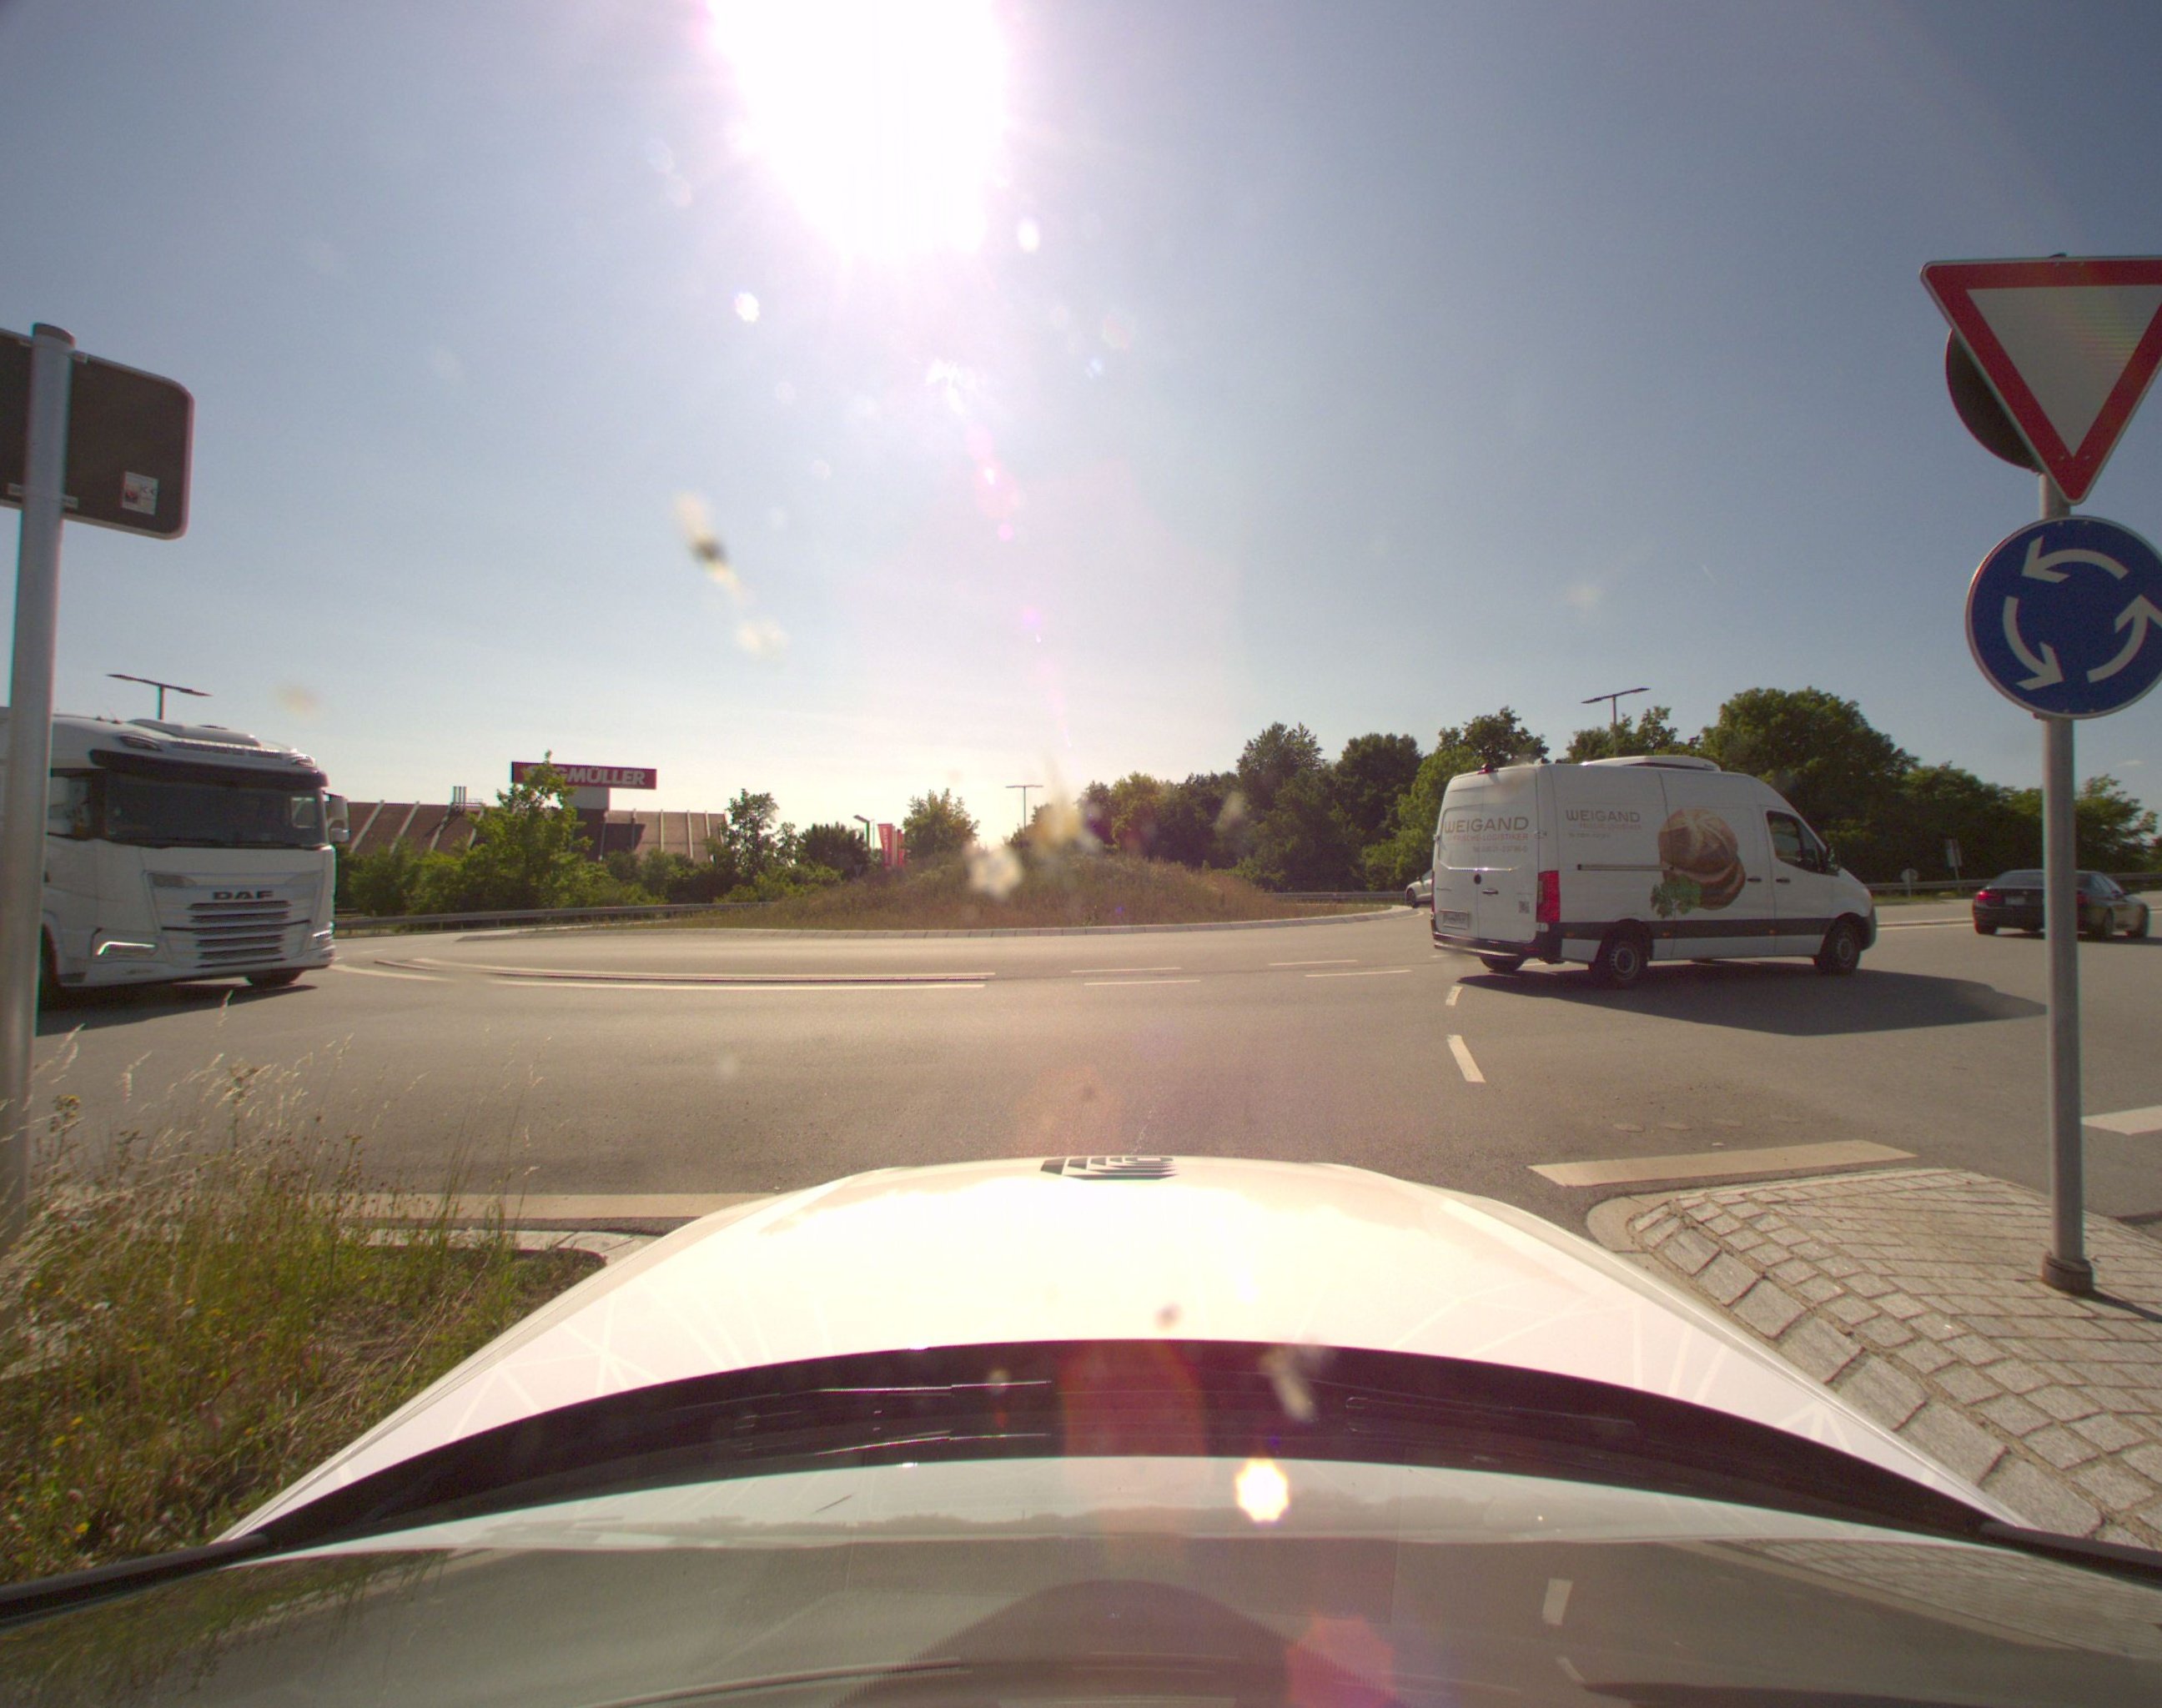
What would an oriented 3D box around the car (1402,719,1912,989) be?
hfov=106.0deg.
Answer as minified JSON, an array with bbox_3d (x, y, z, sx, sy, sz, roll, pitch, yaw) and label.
[{"bbox_3d":[7.479,0.026,10.650,6.131,2.921,2.073,0,-1,-16],"label":"car"}]

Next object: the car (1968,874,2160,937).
[{"bbox_3d":[20.903,1.036,17.310,3.871,1.182,1.663,0,-1,-25],"label":"car"}]

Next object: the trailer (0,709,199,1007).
[{"bbox_3d":[-20.894,0.188,13.325,12.241,4.154,2.568,-1,-1,11],"label":"trailer"}]

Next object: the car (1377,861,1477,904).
[{"bbox_3d":[13.746,1.108,32.655,1.839,1.596,4.315,0,-1,-6],"label":"car"}]

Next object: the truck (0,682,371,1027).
[{"bbox_3d":[-14.130,0.068,11.866,6.363,4.107,2.674,-1,-1,17],"label":"truck"}]
